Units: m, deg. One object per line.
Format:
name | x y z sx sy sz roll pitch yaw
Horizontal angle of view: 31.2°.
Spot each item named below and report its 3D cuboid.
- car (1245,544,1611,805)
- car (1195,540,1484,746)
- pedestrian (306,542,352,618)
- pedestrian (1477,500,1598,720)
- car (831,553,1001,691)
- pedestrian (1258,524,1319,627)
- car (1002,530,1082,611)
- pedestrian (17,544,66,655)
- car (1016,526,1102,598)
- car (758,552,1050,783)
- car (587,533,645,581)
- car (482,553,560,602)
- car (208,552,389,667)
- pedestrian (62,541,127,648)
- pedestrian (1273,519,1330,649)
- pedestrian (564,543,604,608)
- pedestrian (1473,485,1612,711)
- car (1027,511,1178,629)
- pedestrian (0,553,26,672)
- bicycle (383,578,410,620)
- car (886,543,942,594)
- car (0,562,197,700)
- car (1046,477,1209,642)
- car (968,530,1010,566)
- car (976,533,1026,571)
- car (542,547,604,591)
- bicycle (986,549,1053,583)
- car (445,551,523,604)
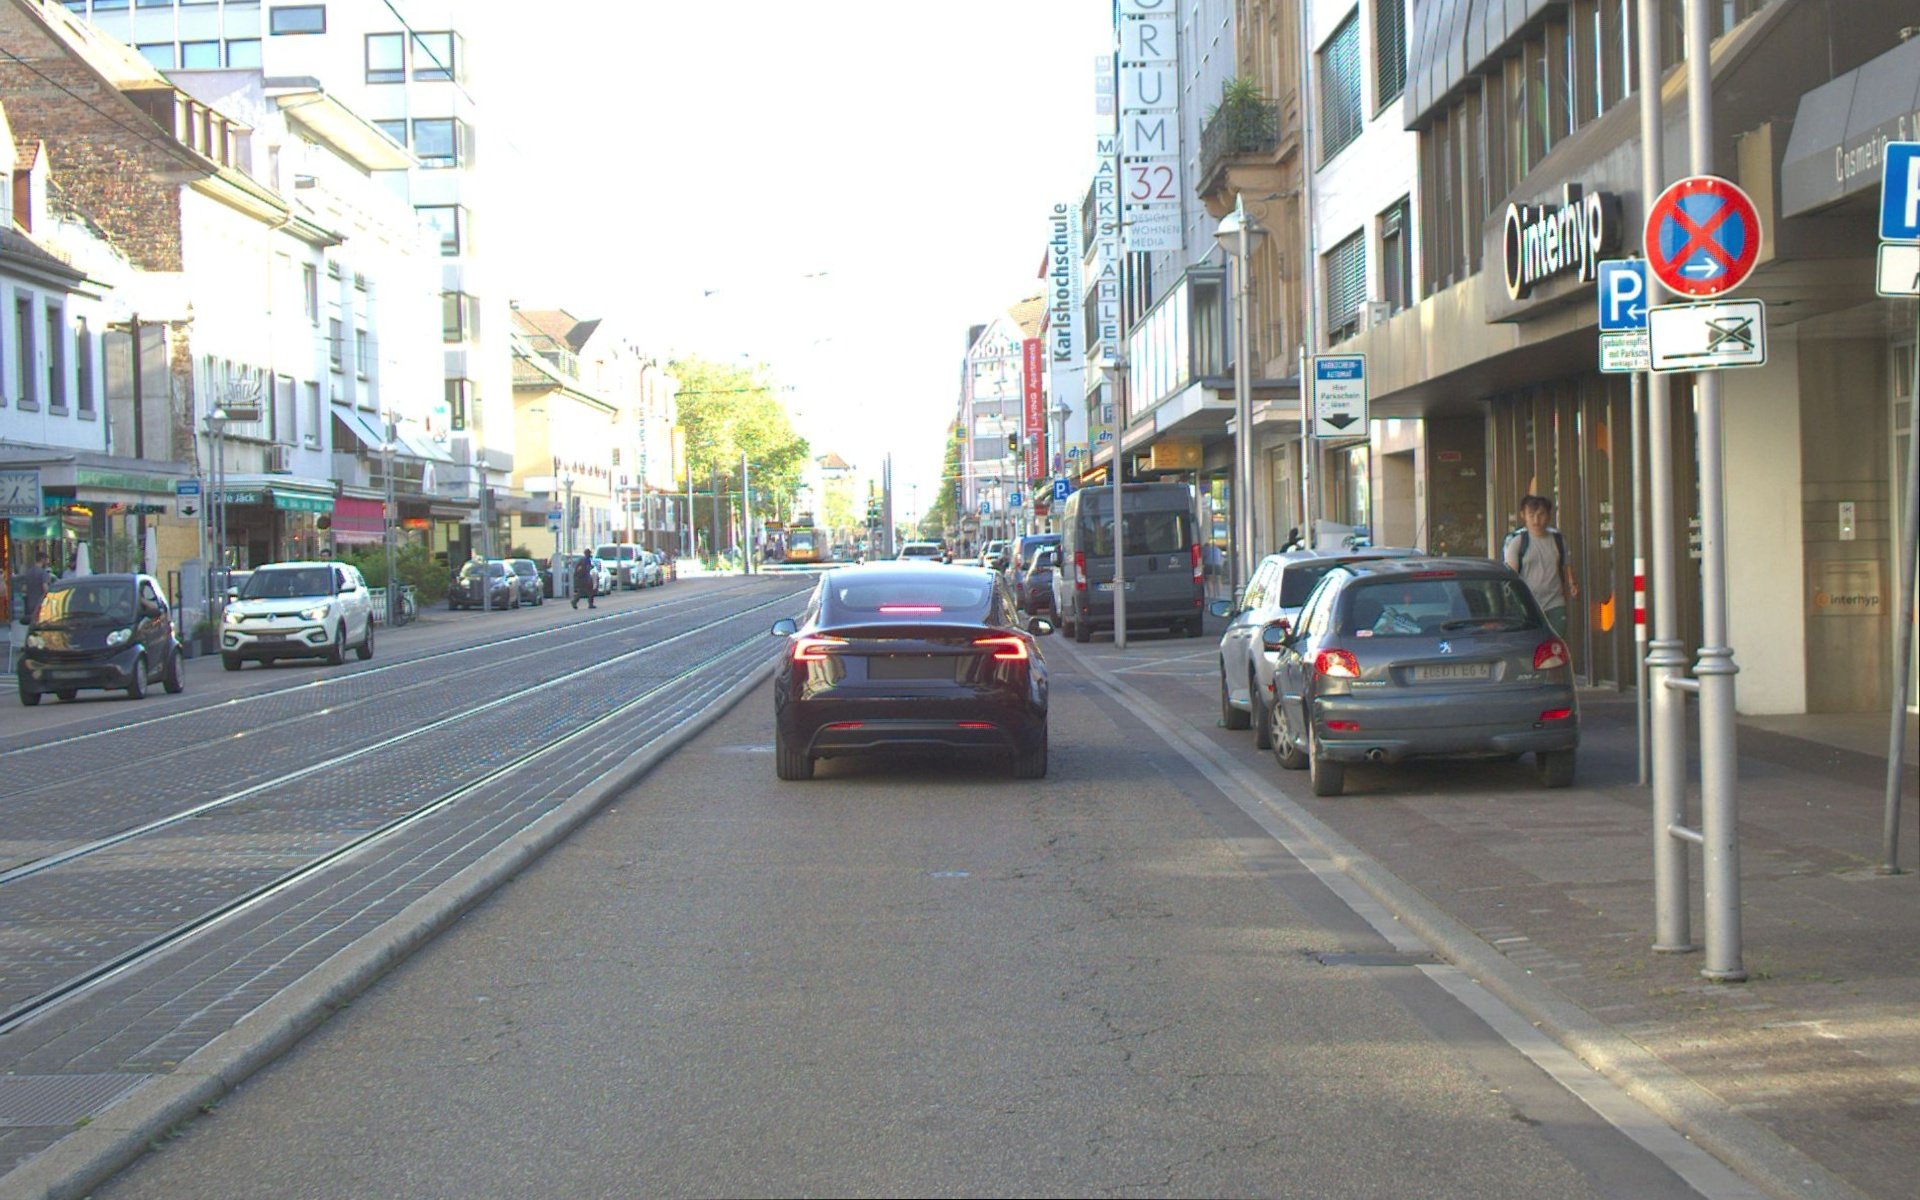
car | 2.950 0.409 22.513 1.848 1.457 4.302 -2 1 1
car | 2.935 0.278 27.397 1.745 1.457 4.296 -2 1 0
pedestrian | -12.125 -0.384 66.075 0.624 1.439 0.874 -1 0 4
pedestrian | 4.696 0.070 28.005 0.779 1.746 1.032 -2 1 1
car | -0.466 0.215 38.377 1.762 1.414 4.354 -1 0 0
pedestrian | 5.031 -0.380 52.741 0.769 1.538 0.804 -3 1 0
car | 1.950 -0.724 82.819 1.821 1.864 3.754 -1 1 0
pedestrian | -15.192 -0.009 56.869 0.656 1.817 0.643 -1 1 -6
car | 2.189 -0.858 76.676 1.751 1.494 3.754 -2 1 0
car | -0.361 0.406 24.485 1.869 1.422 4.365 -1 1 0
car | -14.726 -1.848 147.442 2.009 1.954 4.725 -2 1 -1
car | -14.138 -0.743 110.890 1.770 1.503 3.860 -2 1 3
car | -10.158 0.109 53.076 1.890 1.588 4.263 -3 1 0
pedestrian | -14.516 -0.099 57.658 0.886 1.769 0.688 -1 1 -2
pedestrian | 4.585 -0.220 46.212 0.556 1.708 0.955 -3 1 -2
pedestrian | -10.976 -0.717 100.469 0.772 1.842 0.827 -1 1 31
pedestrian | 4.938 -0.024 29.205 0.923 1.836 0.999 -3 1 1
car | 2.555 -0.573 62.807 2.158 1.920 4.618 -5 1 -3
pedestrian | -14.627 0.189 52.066 0.614 1.769 0.718 -1 1 13
bicycle | -13.701 -0.020 83.537 0.368 0.999 1.605 -2 1 -18
car | -1.749 -1.238 131.967 2.085 1.864 3.754 -1 1 0
car | -10.424 0.348 41.741 1.648 1.560 2.829 -1 1 0
car | 2.679 -0.691 56.260 2.171 2.453 5.362 -3 1 -1
car | 1.428 -2.584 172.200 1.993 1.747 4.000 -1 0 0
car | 1.695 -2.004 143.705 1.993 1.537 4.000 -1 0 0
car | -14.407 -1.171 128.163 1.718 1.566 3.849 -2 1 2
bicycle | 1.975 -1.135 114.892 2.159 1.093 0.686 -2 1 -2
car | -14.485 -0.694 104.755 1.770 1.503 3.864 -2 1 1
